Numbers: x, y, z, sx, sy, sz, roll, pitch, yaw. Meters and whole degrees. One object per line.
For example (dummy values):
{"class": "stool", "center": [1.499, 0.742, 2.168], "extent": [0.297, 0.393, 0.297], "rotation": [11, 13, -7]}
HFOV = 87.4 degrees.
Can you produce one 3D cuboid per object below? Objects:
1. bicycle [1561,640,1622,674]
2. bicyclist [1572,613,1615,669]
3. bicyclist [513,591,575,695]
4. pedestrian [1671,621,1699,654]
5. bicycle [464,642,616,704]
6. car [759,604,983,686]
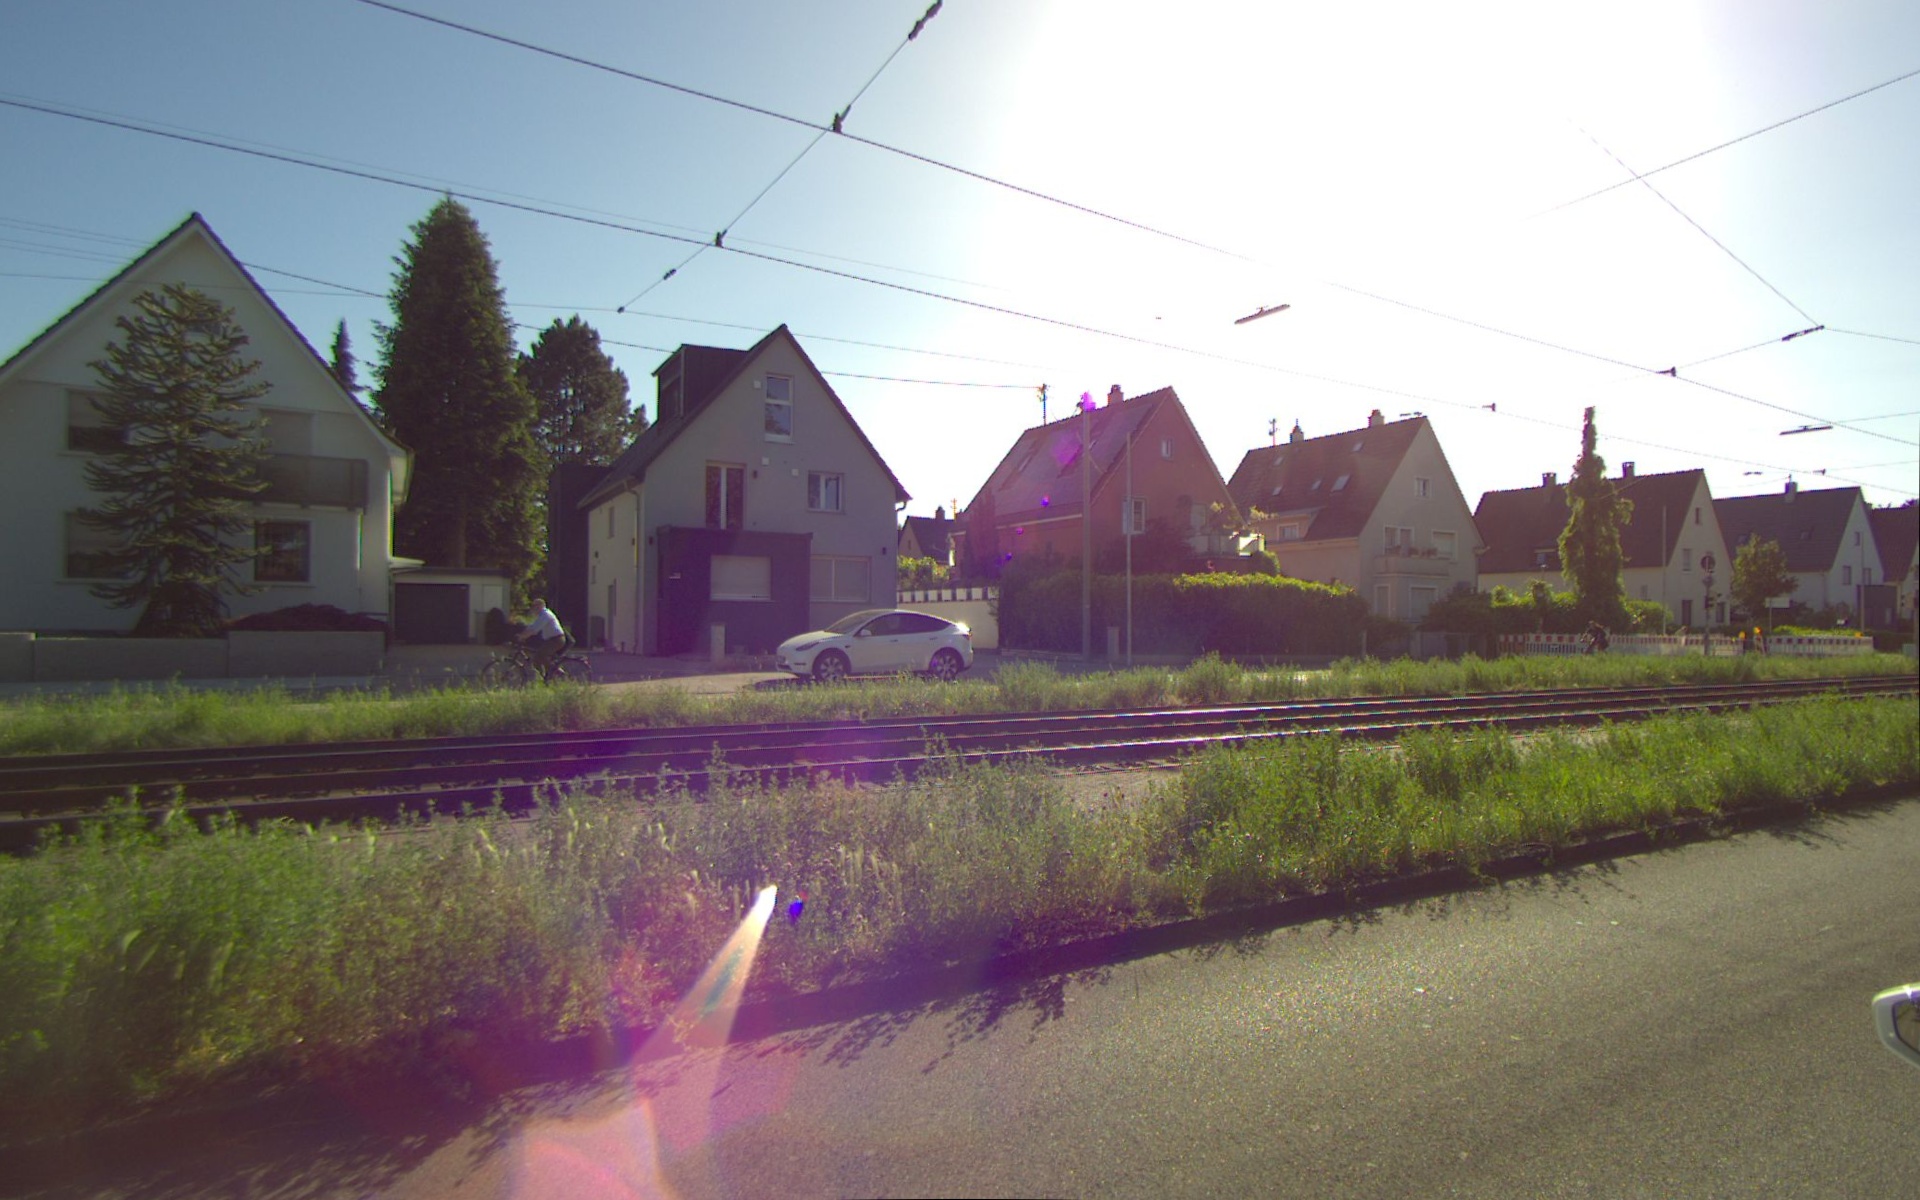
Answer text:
{"class": "bicycle", "center": [22.304, 2.008, 35.459], "extent": [2.282, 1.149, 0.847], "rotation": [2, 0, -30]}
{"class": "bicyclist", "center": [22.376, 1.449, 35.488], "extent": [1.059, 1.912, 0.847], "rotation": [2, 0, -30]}
{"class": "bicyclist", "center": [-7.055, 0.713, 17.029], "extent": [0.827, 1.696, 0.847], "rotation": [2, 0, -30]}
{"class": "pedestrian", "center": [35.471, 1.838, 49.162], "extent": [0.802, 1.555, 0.790], "rotation": [-1, 0, -22]}
{"class": "bicycle", "center": [-7.110, 1.221, 17.056], "extent": [2.282, 0.964, 0.847], "rotation": [2, 0, -30]}
{"class": "car", "center": [-2.019, 1.029, 23.330], "extent": [4.782, 1.700, 1.984], "rotation": [2, 0, -30]}
